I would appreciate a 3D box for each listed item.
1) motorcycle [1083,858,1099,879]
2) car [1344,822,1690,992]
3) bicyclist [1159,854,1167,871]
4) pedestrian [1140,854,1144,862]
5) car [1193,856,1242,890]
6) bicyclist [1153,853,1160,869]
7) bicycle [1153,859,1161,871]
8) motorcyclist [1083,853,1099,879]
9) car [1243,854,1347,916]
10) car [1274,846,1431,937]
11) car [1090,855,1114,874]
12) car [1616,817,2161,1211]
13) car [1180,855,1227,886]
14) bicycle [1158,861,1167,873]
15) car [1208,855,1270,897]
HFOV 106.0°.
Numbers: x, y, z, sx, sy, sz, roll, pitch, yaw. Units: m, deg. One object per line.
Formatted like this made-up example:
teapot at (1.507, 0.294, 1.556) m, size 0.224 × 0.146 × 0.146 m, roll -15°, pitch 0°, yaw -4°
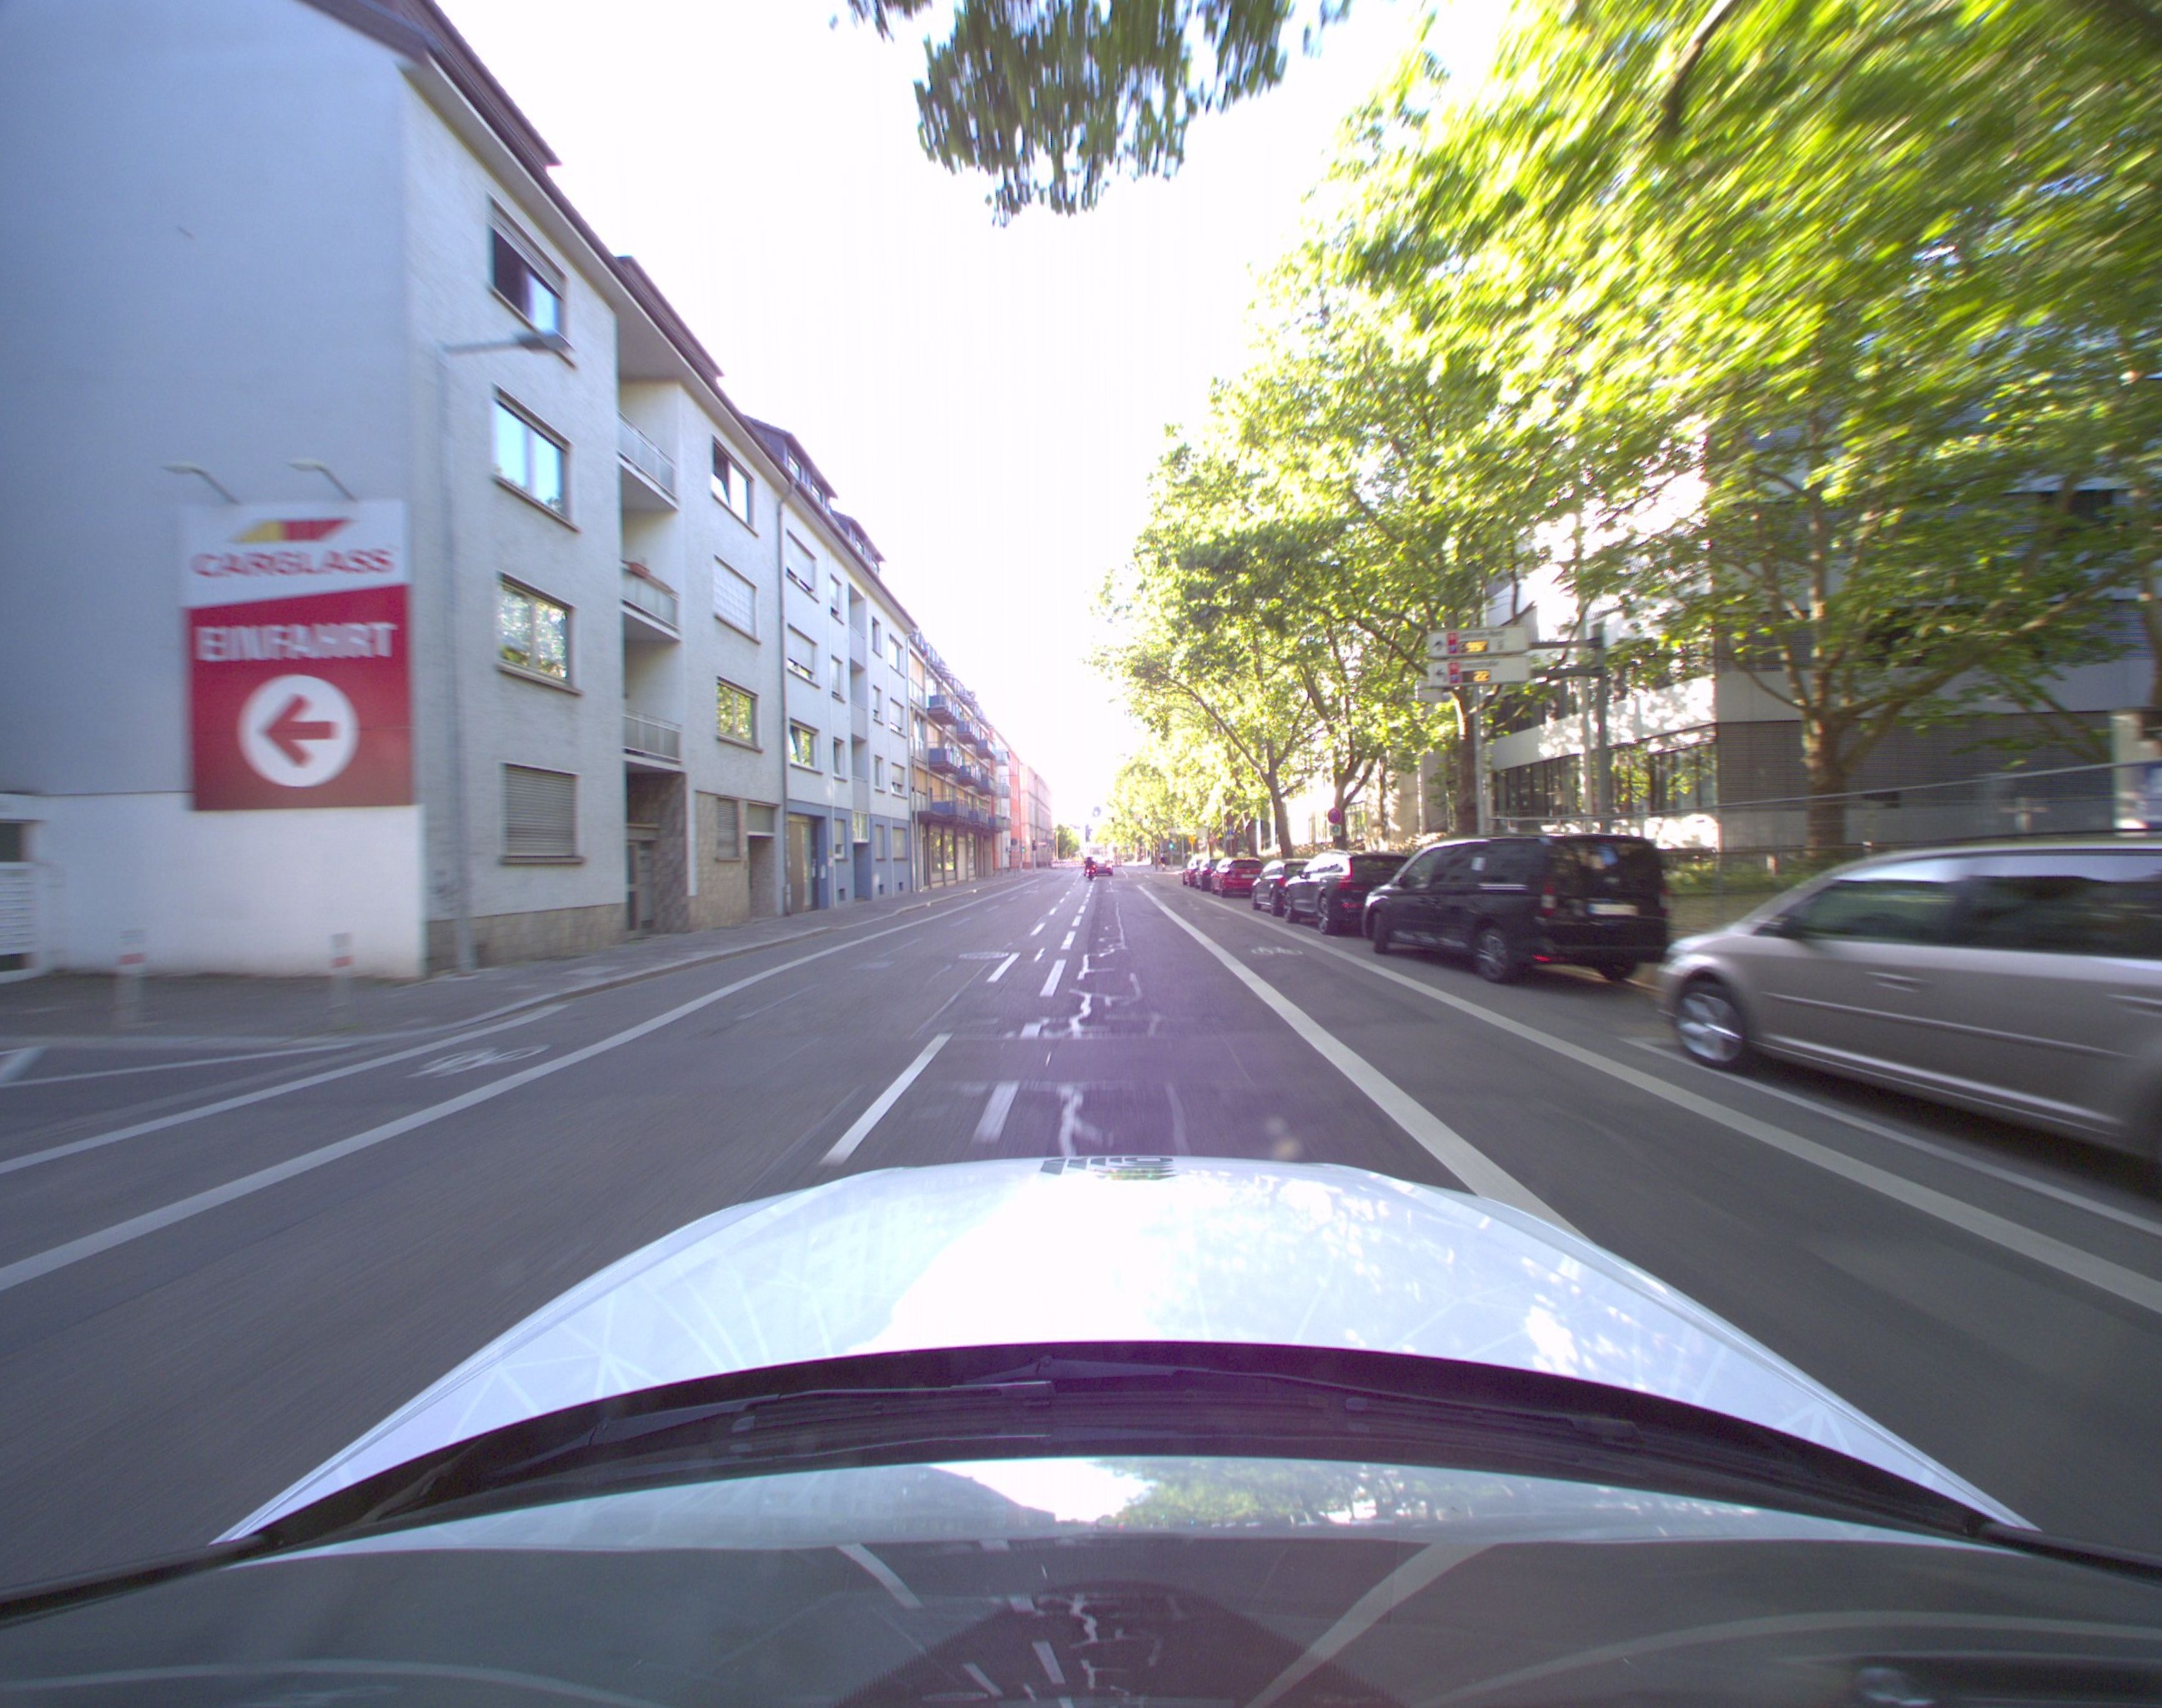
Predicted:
motorcycle at (0.647, 0.923, 52.800) m, size 1.008 × 1.306 × 2.673 m, roll -2°, pitch 0°, yaw 1°
car at (5.612, 0.580, 11.404) m, size 1.823 × 1.841 × 4.888 m, roll 0°, pitch 0°, yaw -7°
bicyclist at (7.335, 0.792, 73.113) m, size 0.654 × 1.530 × 0.852 m, roll 0°, pitch -1°, yaw 1°
pedestrian at (11.600, 0.739, 155.077) m, size 0.590 × 1.578 × 0.527 m, roll 0°, pitch -1°, yaw 1°
car at (6.095, 0.817, 36.771) m, size 1.686 × 1.466 × 4.068 m, roll 0°, pitch 0°, yaw 2°
bicyclist at (7.615, 0.691, 81.870) m, size 0.654 × 1.530 × 0.906 m, roll 0°, pitch -1°, yaw 1°
bicycle at (7.615, 1.094, 81.811) m, size 0.654 × 1.111 × 2.186 m, roll 0°, pitch -1°, yaw 1°
motorcyclist at (0.643, 0.774, 52.966) m, size 1.009 × 1.602 × 1.406 m, roll -2°, pitch 0°, yaw 1°
car at (5.625, 0.763, 21.861) m, size 1.688 × 1.503 × 4.019 m, roll 0°, pitch 0°, yaw -1°
car at (5.484, 0.681, 17.100) m, size 1.770 × 1.628 × 4.620 m, roll 0°, pitch 0°, yaw 0°
car at (1.620, 0.817, 64.175) m, size 1.822 × 1.420 × 3.815 m, roll -1°, pitch 0°, yaw 1°
car at (5.300, 0.665, 4.609) m, size 1.688 × 1.628 × 4.328 m, roll 0°, pitch 0°, yaw -1°
car at (6.162, 0.812, 41.528) m, size 1.688 × 1.449 × 4.434 m, roll 0°, pitch 0°, yaw -1°
bicycle at (7.336, 1.171, 73.080) m, size 0.654 × 1.070 × 1.927 m, roll 0°, pitch -1°, yaw 1°
car at (6.002, 0.794, 31.405) m, size 1.686 × 1.479 × 4.320 m, roll 0°, pitch 0°, yaw 2°
